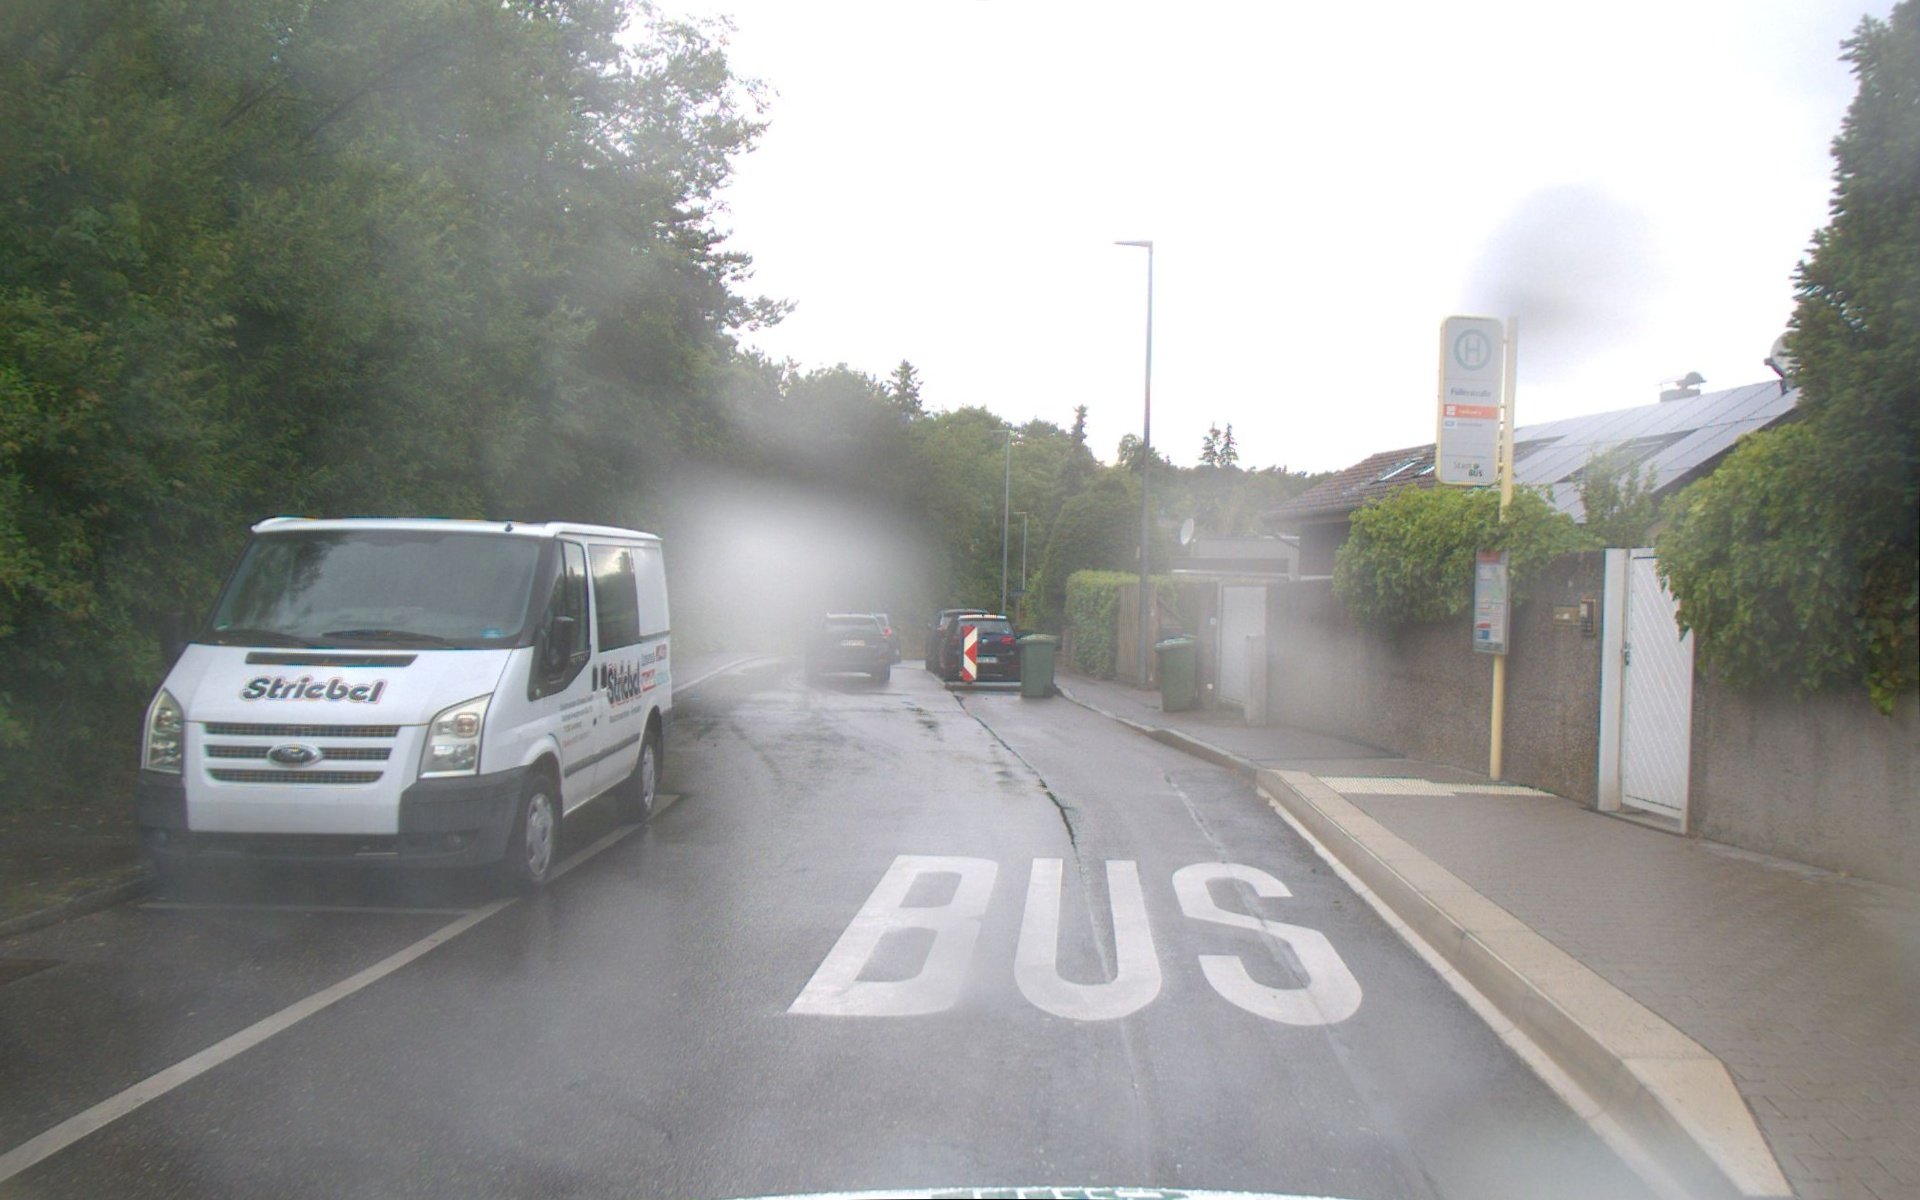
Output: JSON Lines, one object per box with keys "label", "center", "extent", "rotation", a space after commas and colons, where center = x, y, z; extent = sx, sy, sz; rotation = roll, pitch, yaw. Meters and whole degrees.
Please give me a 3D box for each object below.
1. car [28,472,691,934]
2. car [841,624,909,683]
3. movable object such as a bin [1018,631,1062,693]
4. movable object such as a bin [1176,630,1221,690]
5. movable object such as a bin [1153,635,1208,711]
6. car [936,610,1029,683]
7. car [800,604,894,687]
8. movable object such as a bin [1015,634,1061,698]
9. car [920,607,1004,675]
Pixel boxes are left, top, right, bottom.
{"label": "car", "center": [-3.051, 0.462, 9.845], "extent": [2.068, 2.009, 5.172], "rotation": [1, 0, 0]}
{"label": "car", "center": [-2.618, 1.617, 51.053], "extent": [1.954, 1.633, 4.406], "rotation": [2, 0, -3]}
{"label": "movable object such as a bin", "center": [1.479, 1.147, 30.711], "extent": [0.715, 1.097, 0.660], "rotation": [2, 0, -6]}
{"label": "movable object such as a bin", "center": [4.715, 1.188, 32.641], "extent": [0.732, 1.123, 0.820], "rotation": [3, -1, 15]}
{"label": "movable object such as a bin", "center": [3.350, 1.098, 25.135], "extent": [0.724, 1.107, 0.600], "rotation": [-1, 0, -1]}
{"label": "car", "center": [0.445, 1.007, 37.331], "extent": [1.721, 1.487, 4.297], "rotation": [2, 0, -4]}
{"label": "car", "center": [-2.505, 1.041, 35.875], "extent": [1.832, 1.539, 4.086], "rotation": [3, -4, -6]}
{"label": "movable object such as a bin", "center": [1.391, 1.175, 29.554], "extent": [0.702, 1.115, 0.655], "rotation": [2, 0, -8]}
{"label": "car", "center": [-0.005, 1.007, 42.422], "extent": [1.838, 1.620, 4.476], "rotation": [1, 0, -4]}
